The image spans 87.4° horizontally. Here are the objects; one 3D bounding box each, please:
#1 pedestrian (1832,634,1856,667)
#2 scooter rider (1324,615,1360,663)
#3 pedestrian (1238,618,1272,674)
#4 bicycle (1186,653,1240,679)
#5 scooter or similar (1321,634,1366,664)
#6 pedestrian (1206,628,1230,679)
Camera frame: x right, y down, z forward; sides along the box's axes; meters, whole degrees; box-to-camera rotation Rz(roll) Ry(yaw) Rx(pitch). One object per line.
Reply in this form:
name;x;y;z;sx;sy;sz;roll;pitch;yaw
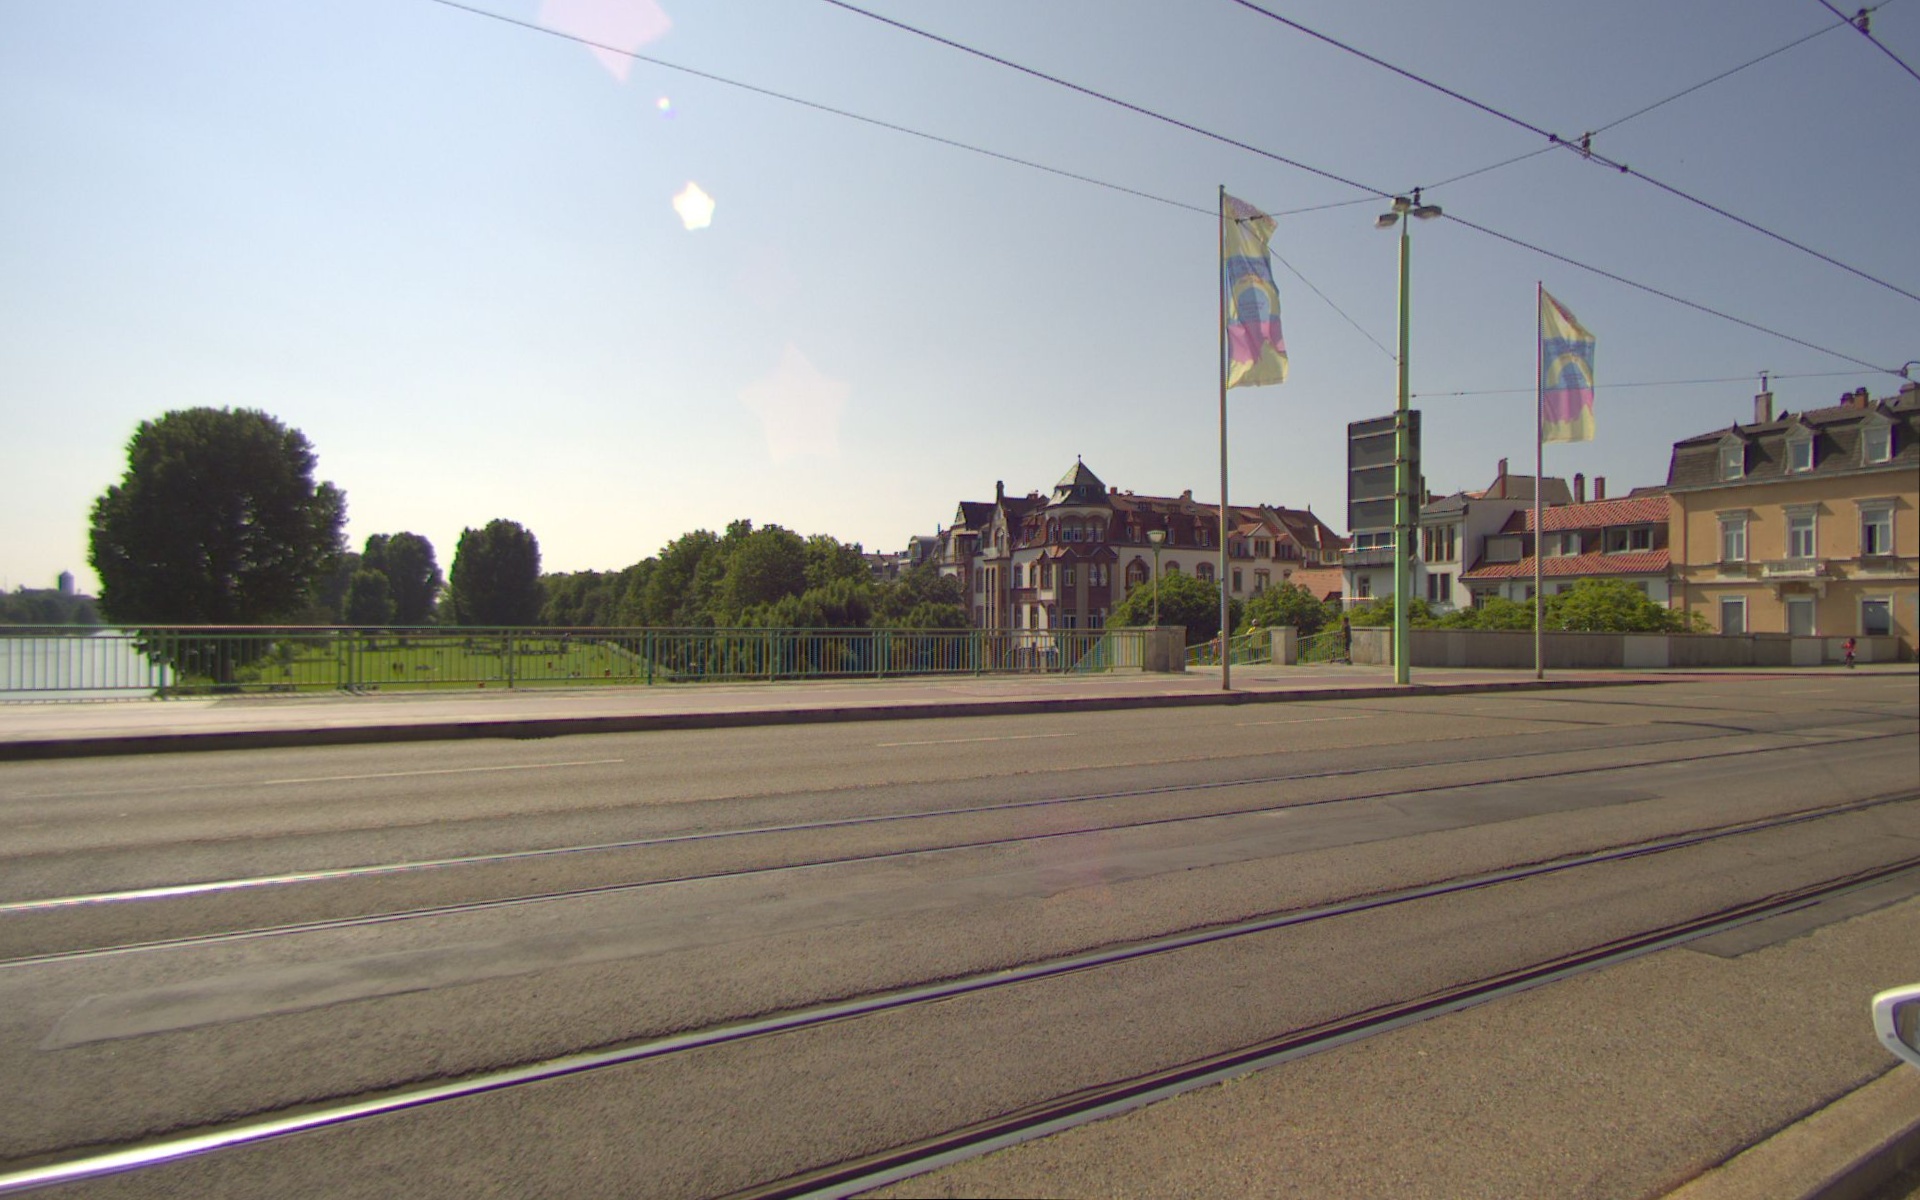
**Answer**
pedestrian;31.972;1.822;36.326;0.537;1.161;0.410;1;3;-25
scooter rider;11.348;1.156;29.833;0.588;1.333;0.768;2;3;-18
pedestrian;9.734;1.500;33.109;0.790;1.804;0.743;1;-1;-24
bicycle;8.437;2.194;33.574;0.614;0.726;1.920;0;1;-27
scooter or similar;11.404;1.451;29.879;0.945;0.793;0.779;2;3;-18
pedestrian;8.610;1.783;33.510;0.408;1.654;0.623;1;1;-27
